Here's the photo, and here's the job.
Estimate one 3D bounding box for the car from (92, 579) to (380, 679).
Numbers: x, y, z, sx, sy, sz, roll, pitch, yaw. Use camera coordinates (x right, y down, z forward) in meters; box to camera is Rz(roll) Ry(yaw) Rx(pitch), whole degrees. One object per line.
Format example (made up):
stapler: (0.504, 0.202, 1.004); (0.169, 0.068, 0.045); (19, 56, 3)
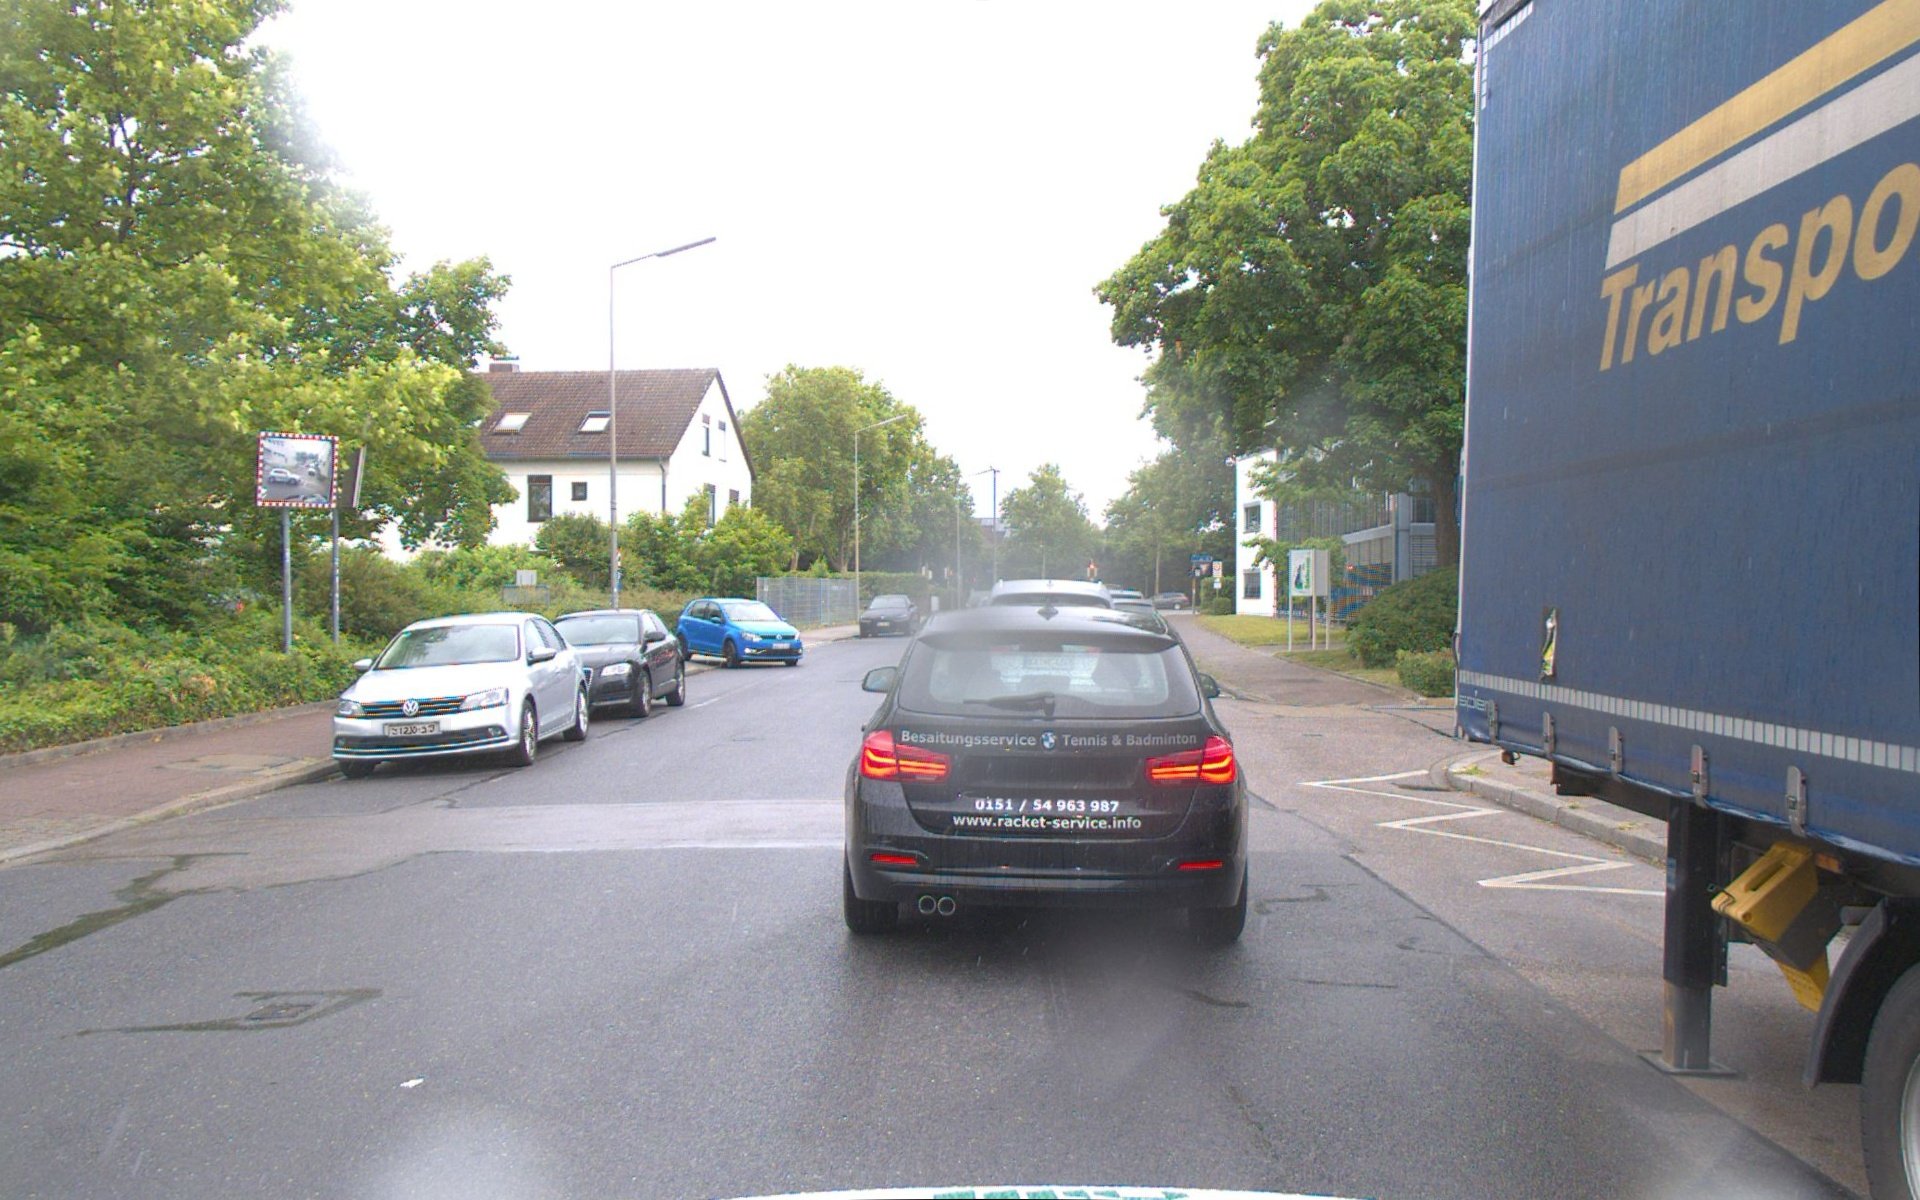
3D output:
car: (-11.822, 0.452, 27.226); (3.907, 1.567, 1.909); (0, 0, -3)

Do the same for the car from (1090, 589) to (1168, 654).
car: (4.393, 0.551, 43.414); (1.767, 1.614, 4.001); (1, 0, 2)

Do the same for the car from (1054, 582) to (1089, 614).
car: (5.686, -0.117, 84.428); (1.766, 1.614, 4.002); (0, 0, 4)

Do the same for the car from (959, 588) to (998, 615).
car: (1.036, 0.064, 91.129); (1.669, 1.391, 3.841); (-3, 0, 7)

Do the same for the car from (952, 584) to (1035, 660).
car: (0.790, 0.486, 37.563); (1.767, 1.614, 4.001); (1, 0, 2)

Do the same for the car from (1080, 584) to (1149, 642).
car: (4.534, 0.376, 48.932); (1.767, 1.614, 4.001); (1, 0, 2)

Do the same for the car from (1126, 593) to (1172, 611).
car: (15.514, 0.180, 135.765); (3.744, 1.391, 1.713); (0, 1, 8)

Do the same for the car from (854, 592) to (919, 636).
car: (-2.590, 0.477, 59.198); (1.669, 1.391, 3.841); (-3, 0, 7)

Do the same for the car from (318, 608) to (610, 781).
car: (-4.861, 0.846, 16.900); (1.671, 1.391, 4.600); (-3, 0, -2)

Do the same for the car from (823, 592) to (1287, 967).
car: (0.343, 0.695, 8.334); (1.767, 1.419, 3.999); (1, 0, -1)

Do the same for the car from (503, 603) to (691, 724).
car: (-4.822, 0.794, 22.452); (1.671, 1.391, 3.838); (-3, 0, 0)

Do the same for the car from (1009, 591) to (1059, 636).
car: (2.803, 0.490, 62.259); (1.766, 1.614, 4.002); (1, 0, 4)

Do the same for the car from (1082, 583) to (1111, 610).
car: (8.438, -0.212, 102.427); (1.766, 1.614, 4.002); (0, 0, 4)

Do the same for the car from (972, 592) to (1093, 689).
car: (1.229, 0.685, 29.599); (1.768, 1.614, 3.997); (1, 0, -3)

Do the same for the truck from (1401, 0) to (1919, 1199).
truck: (3.331, -0.420, 3.149); (2.685, 3.674, 7.748); (2, 0, -1)

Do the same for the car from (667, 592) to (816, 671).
car: (-4.930, 0.699, 36.983); (1.692, 1.622, 3.790); (-3, 0, -35)

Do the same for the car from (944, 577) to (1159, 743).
car: (0.883, 0.599, 18.157); (1.769, 1.614, 3.995); (1, 0, -6)
